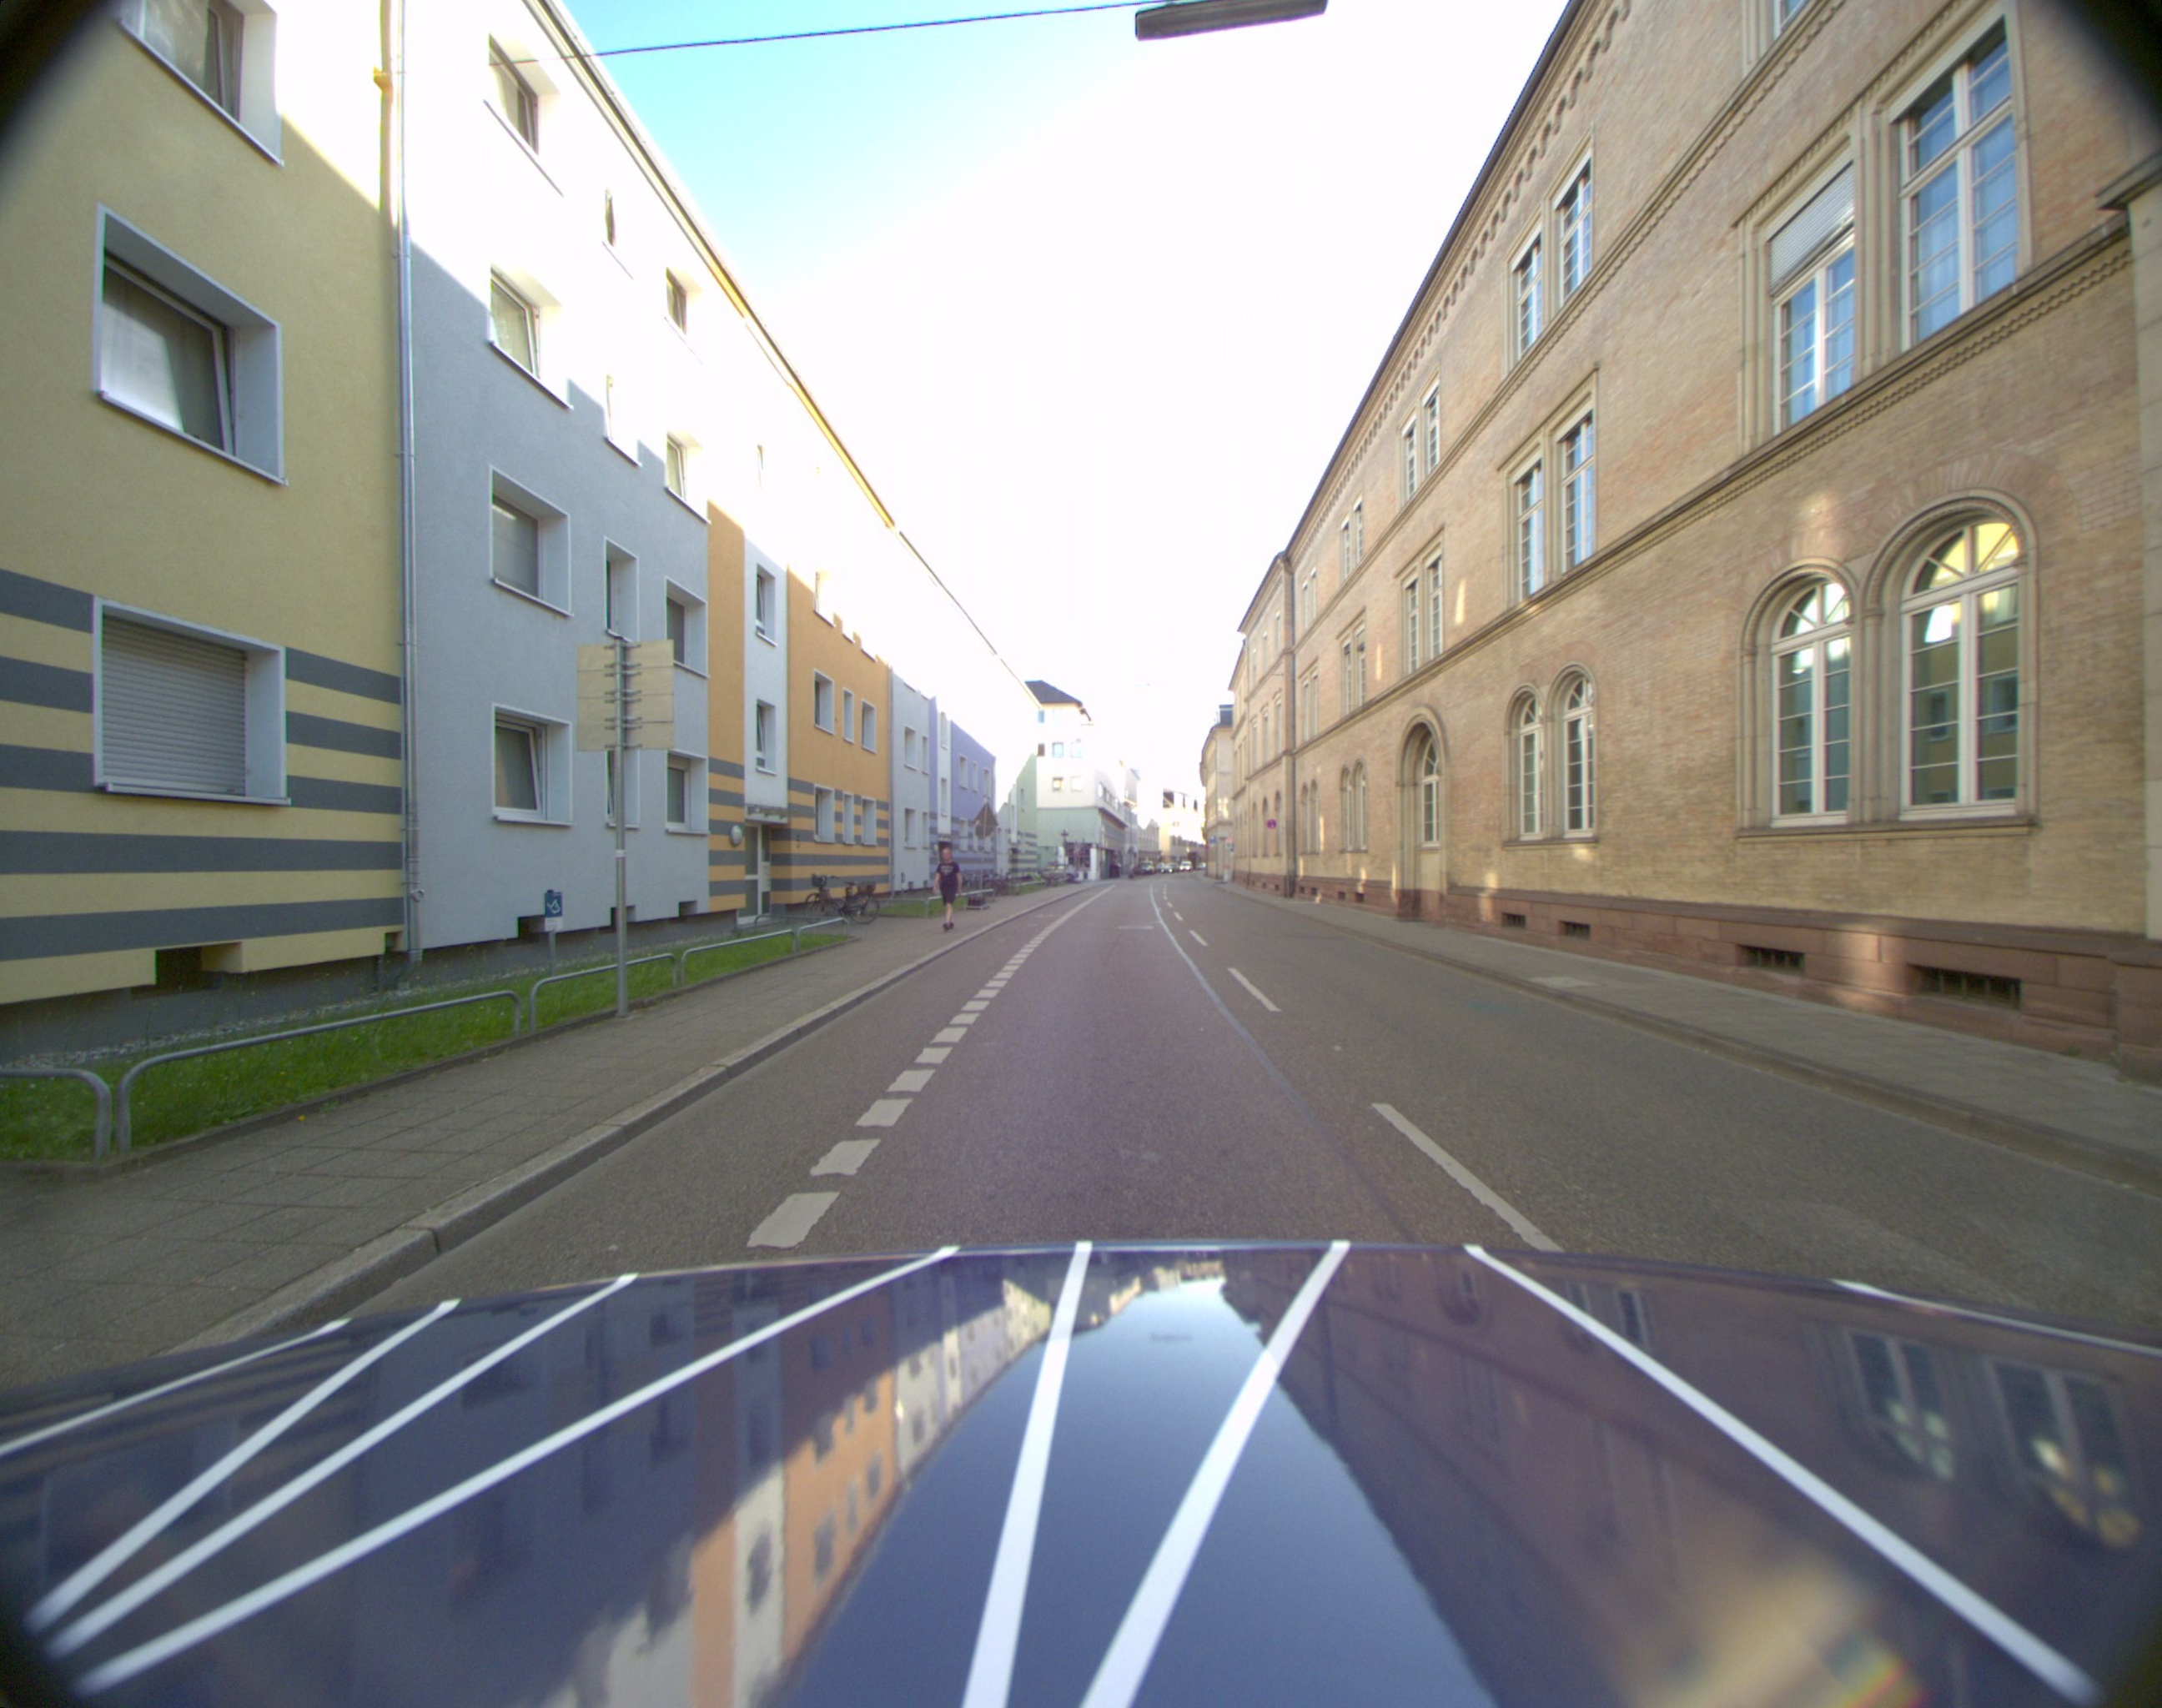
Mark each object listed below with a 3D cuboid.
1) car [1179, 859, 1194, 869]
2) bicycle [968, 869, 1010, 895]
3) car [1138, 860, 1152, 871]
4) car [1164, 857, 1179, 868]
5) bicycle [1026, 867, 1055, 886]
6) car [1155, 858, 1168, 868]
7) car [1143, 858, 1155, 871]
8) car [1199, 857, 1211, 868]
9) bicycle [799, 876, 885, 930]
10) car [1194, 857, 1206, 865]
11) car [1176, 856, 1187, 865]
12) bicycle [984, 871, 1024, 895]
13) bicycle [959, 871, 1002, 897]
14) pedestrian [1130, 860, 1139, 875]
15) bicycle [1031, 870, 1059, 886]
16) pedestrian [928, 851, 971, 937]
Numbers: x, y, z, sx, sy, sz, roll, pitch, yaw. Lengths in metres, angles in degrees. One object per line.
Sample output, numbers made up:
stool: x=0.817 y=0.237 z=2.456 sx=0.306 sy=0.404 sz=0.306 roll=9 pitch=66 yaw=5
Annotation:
car: x=18.423 y=1.694 z=132.506 sx=1.921 sy=1.712 sz=4.966 roll=-1 pitch=0 yaw=15
bicycle: x=-3.988 y=1.221 z=32.876 sx=1.710 sy=1.075 sz=0.636 roll=1 pitch=0 yaw=1
car: x=8.542 y=1.501 z=100.660 sx=1.634 sy=1.405 sz=3.687 roll=-1 pitch=0 yaw=8
car: x=14.194 y=1.266 z=118.634 sx=1.860 sy=1.714 sz=3.743 roll=0 pitch=0 yaw=15
bicycle: x=-2.469 y=1.367 z=45.997 sx=1.711 sy=1.097 sz=0.585 roll=1 pitch=0 yaw=-2
car: x=12.948 y=1.432 z=121.995 sx=1.534 sy=1.714 sz=3.743 roll=0 pitch=0 yaw=12
car: x=9.516 y=1.406 z=105.915 sx=1.535 sy=1.714 sz=3.741 roll=0 pitch=0 yaw=8
car: x=19.641 y=1.260 z=120.353 sx=1.663 sy=1.714 sz=3.743 roll=0 pitch=0 yaw=14
bicycle: x=-5.314 y=1.080 z=16.980 sx=1.711 sy=1.152 sz=0.636 roll=1 pitch=0 yaw=-2
car: x=25.598 y=1.422 z=163.374 sx=1.925 sy=1.714 sz=4.236 roll=0 pitch=0 yaw=19
car: x=19.698 y=1.185 z=149.236 sx=1.534 sy=1.714 sz=3.744 roll=0 pitch=0 yaw=16
bicycle: x=-3.414 y=1.260 z=33.597 sx=1.711 sy=1.029 sz=0.636 roll=1 pitch=0 yaw=-2
bicycle: x=-4.188 y=1.248 z=31.734 sx=1.710 sy=1.039 sz=0.636 roll=1 pitch=0 yaw=2
pedestrian: x=5.310 y=1.346 z=75.616 sx=0.662 sy=1.509 sz=0.707 roll=-1 pitch=0 yaw=-21
bicycle: x=-2.224 y=1.501 z=47.458 sx=1.711 sy=0.972 sz=0.516 roll=1 pitch=0 yaw=-2
pedestrian: x=-2.812 y=0.840 z=16.302 sx=0.646 sy=1.778 sz=0.916 roll=3 pitch=0 yaw=4
